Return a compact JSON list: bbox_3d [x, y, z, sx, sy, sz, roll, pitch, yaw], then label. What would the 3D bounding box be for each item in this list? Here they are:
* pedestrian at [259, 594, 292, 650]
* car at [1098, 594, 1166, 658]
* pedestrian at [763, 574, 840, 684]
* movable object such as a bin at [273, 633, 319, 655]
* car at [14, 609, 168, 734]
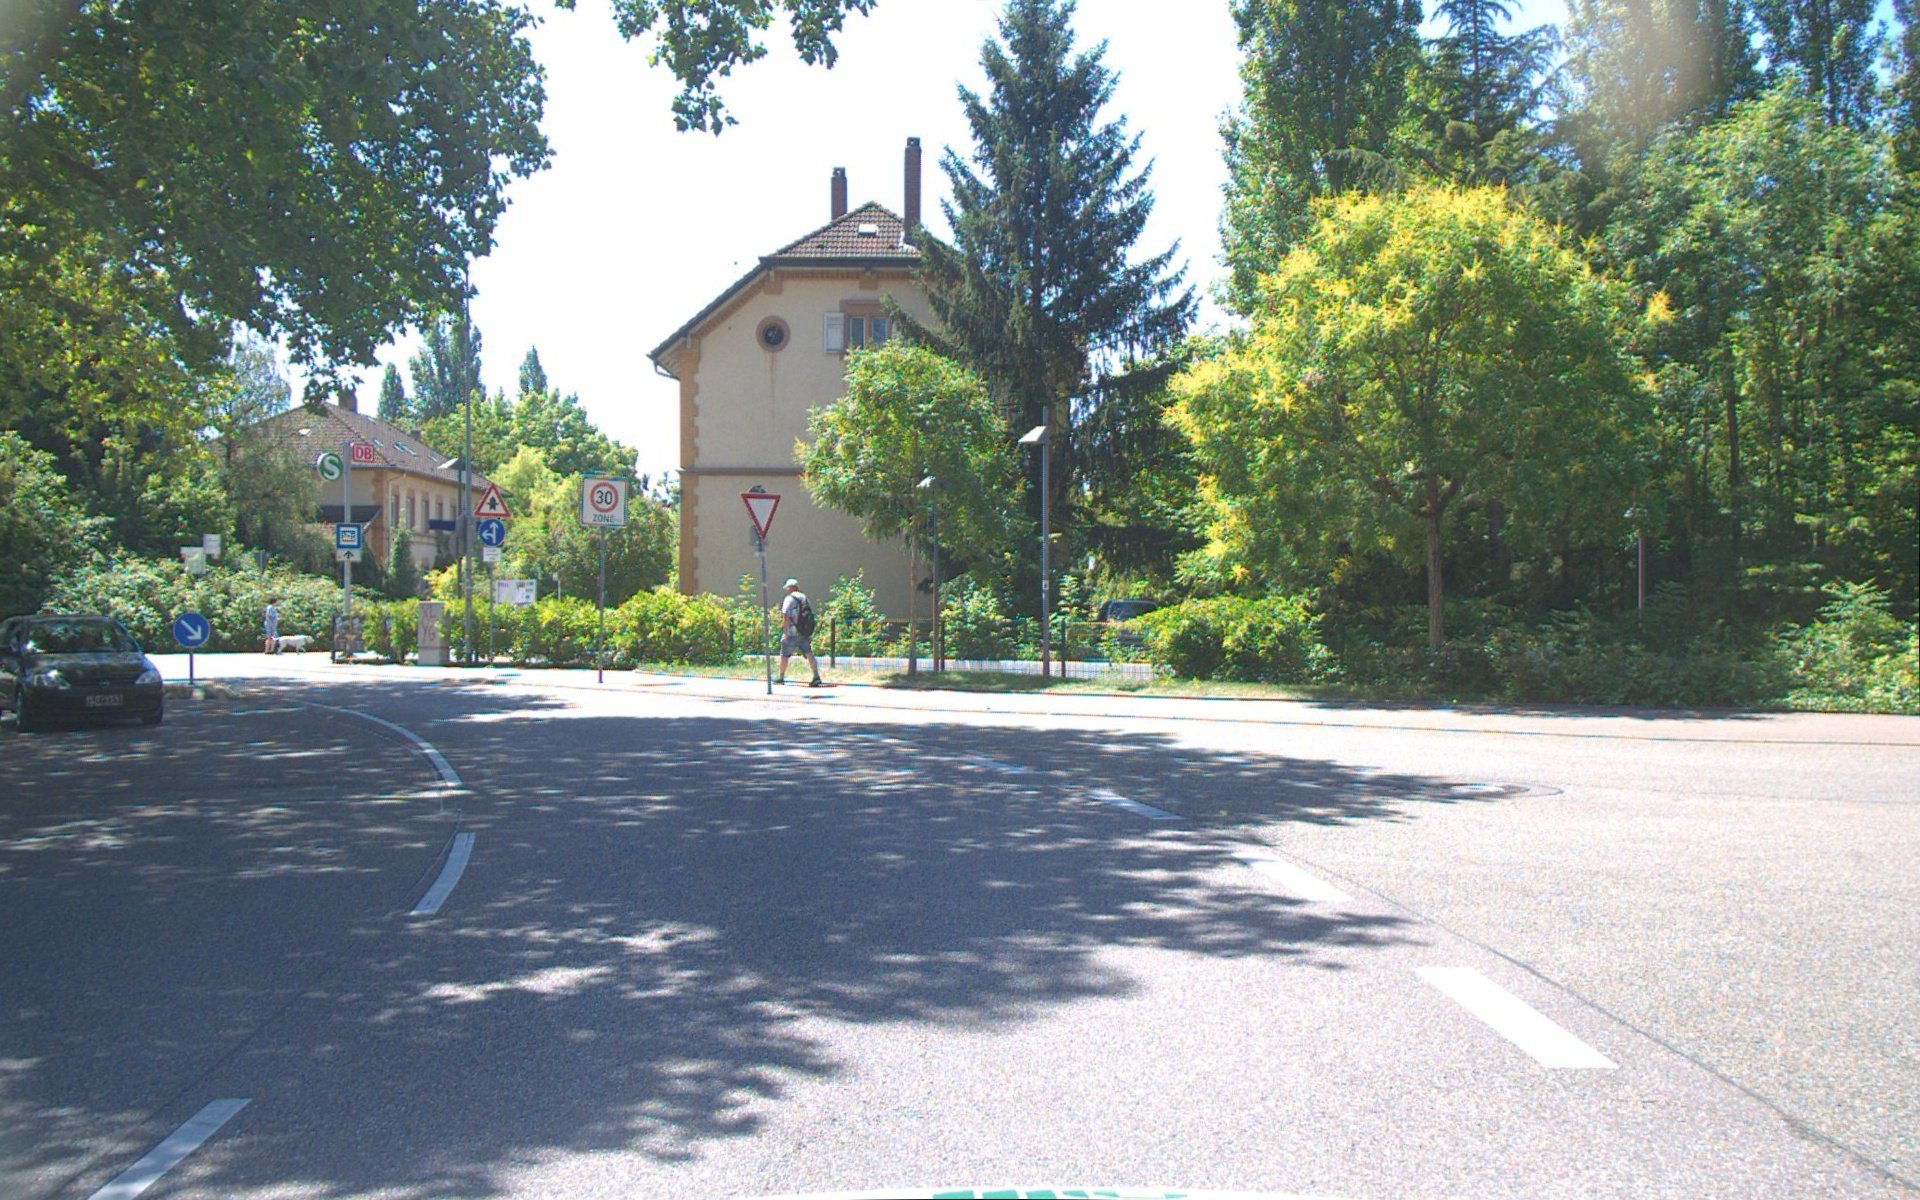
[{"bbox_3d":[-20.466,0.654,49.470,0.686,1.656,0.615,1,0,33],"label":"pedestrian"},{"bbox_3d":[4.360,0.641,42.324,1.615,1.563,3.971,0,0,4],"label":"car"},{"bbox_3d":[-2.700,0.480,28.170,0.907,1.802,0.902,-4,2,-40],"label":"pedestrian"},{"bbox_3d":[-19.702,1.309,49.116,0.505,0.605,1.241,0,0,29],"label":"movable object such as a bin"},{"bbox_3d":[-11.565,0.877,22.194,1.620,1.442,3.967,-2,1,-25],"label":"car"}]
